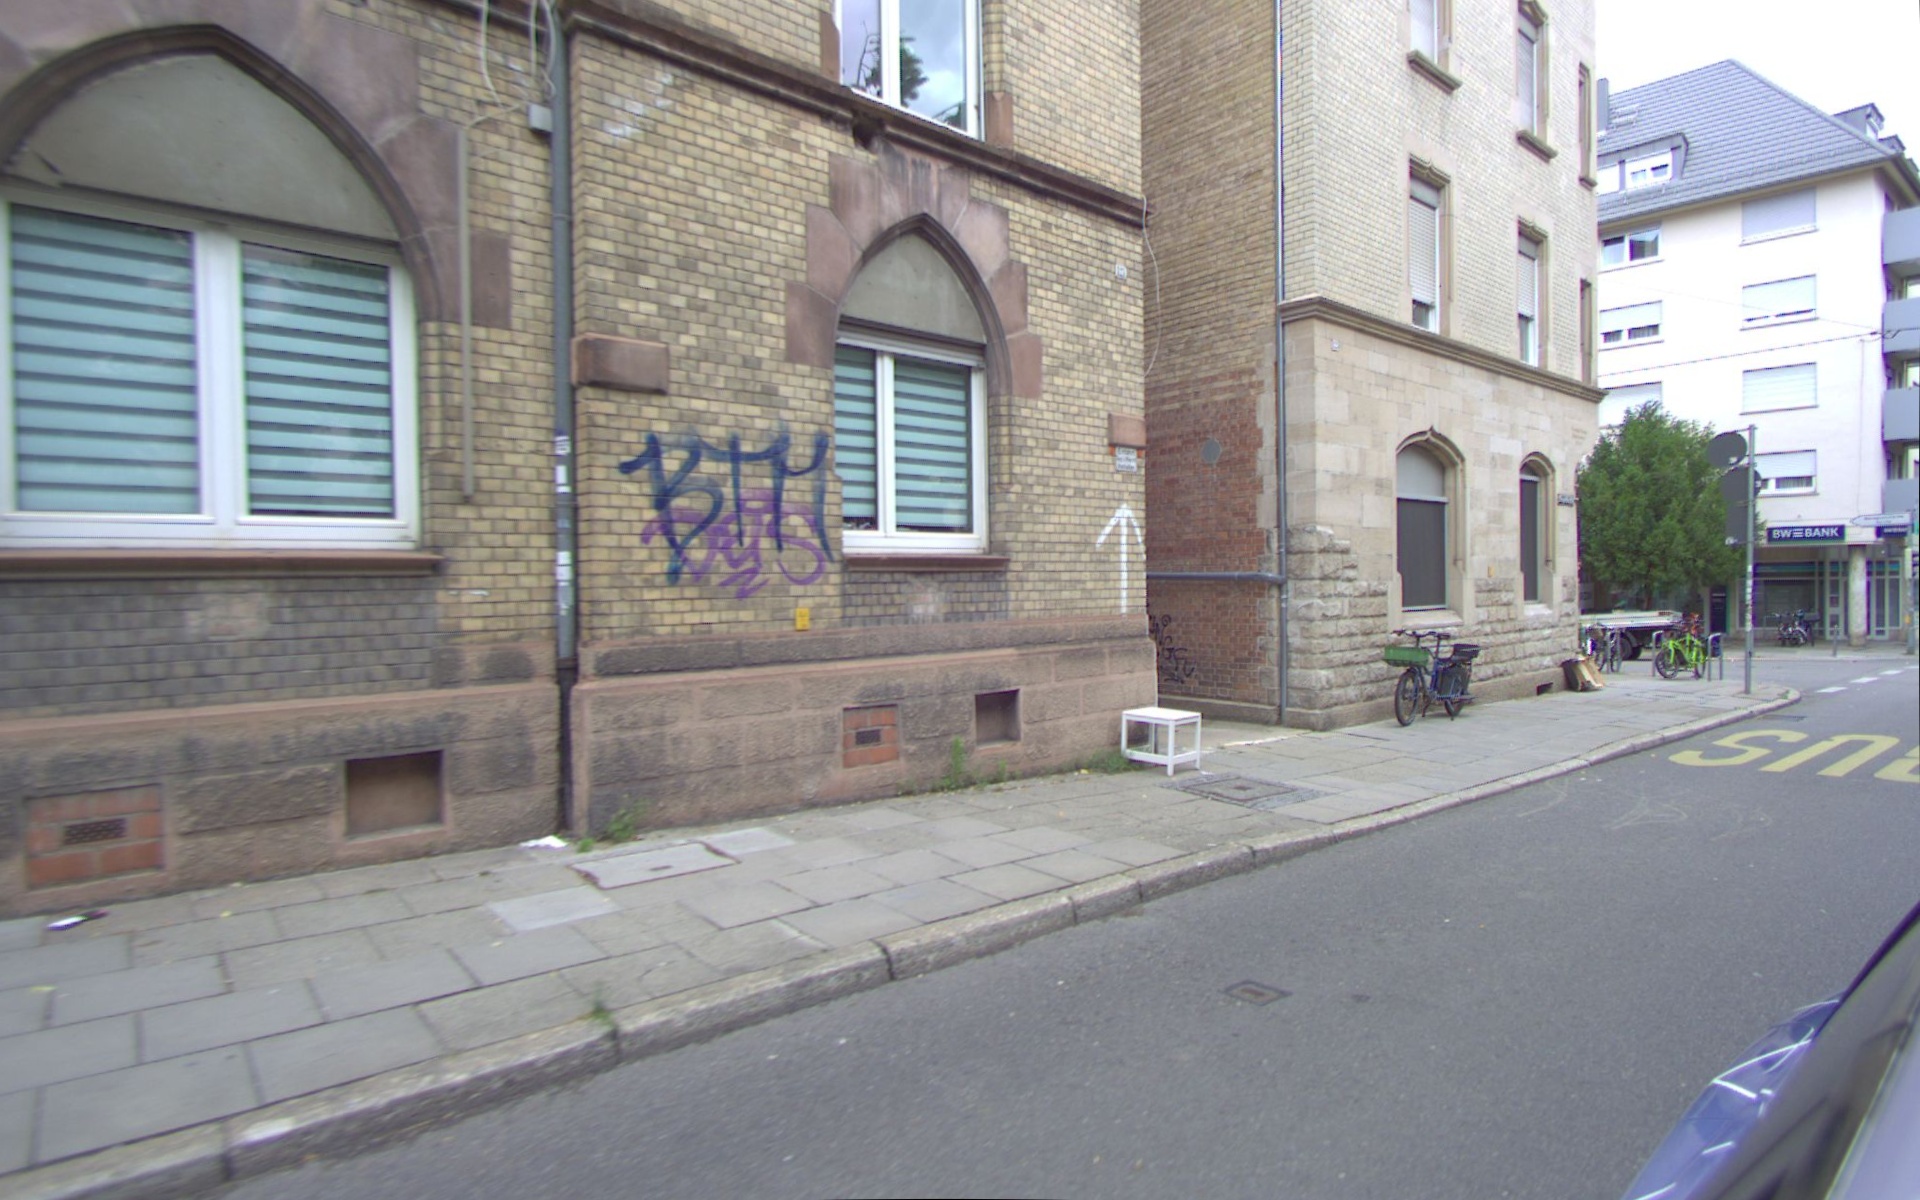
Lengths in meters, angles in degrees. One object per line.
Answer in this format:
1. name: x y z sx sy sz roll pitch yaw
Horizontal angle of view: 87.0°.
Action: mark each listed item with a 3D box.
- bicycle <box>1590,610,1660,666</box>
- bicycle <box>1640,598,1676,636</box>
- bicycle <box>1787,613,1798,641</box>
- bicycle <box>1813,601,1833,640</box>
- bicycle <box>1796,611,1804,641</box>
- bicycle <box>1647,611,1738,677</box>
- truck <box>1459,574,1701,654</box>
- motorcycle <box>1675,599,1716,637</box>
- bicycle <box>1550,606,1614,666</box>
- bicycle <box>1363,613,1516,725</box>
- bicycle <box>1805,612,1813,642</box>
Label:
1. bicycle: 14.512 0.832 22.052 2.021 1.164 0.683 2 -3 -39
2. bicycle: 23.791 0.572 34.471 1.849 1.271 0.439 0 -1 -37
3. bicycle: 27.570 0.885 33.506 0.184 0.919 1.217 -1 -1 43
4. bicycle: 28.138 0.661 32.987 0.399 1.220 1.265 -2 -2 43
5. bicycle: 27.168 0.829 32.722 0.141 0.918 1.230 0 1 43
6. bicycle: 13.923 0.814 19.192 2.887 1.164 0.683 2 -1 -39
7. truck: 18.691 0.519 30.742 5.839 2.134 2.513 -4 -4 44
8. motorcycle: 24.541 0.593 33.735 1.896 1.211 0.591 0 2 -39
9. bicycle: 13.982 0.783 22.726 2.343 1.293 0.459 0 -1 -39
10. bicycle: 5.776 0.764 12.107 2.439 1.164 0.683 -1 0 -39
11. bicycle: 27.049 0.858 32.253 0.120 0.919 1.265 -1 -1 43
